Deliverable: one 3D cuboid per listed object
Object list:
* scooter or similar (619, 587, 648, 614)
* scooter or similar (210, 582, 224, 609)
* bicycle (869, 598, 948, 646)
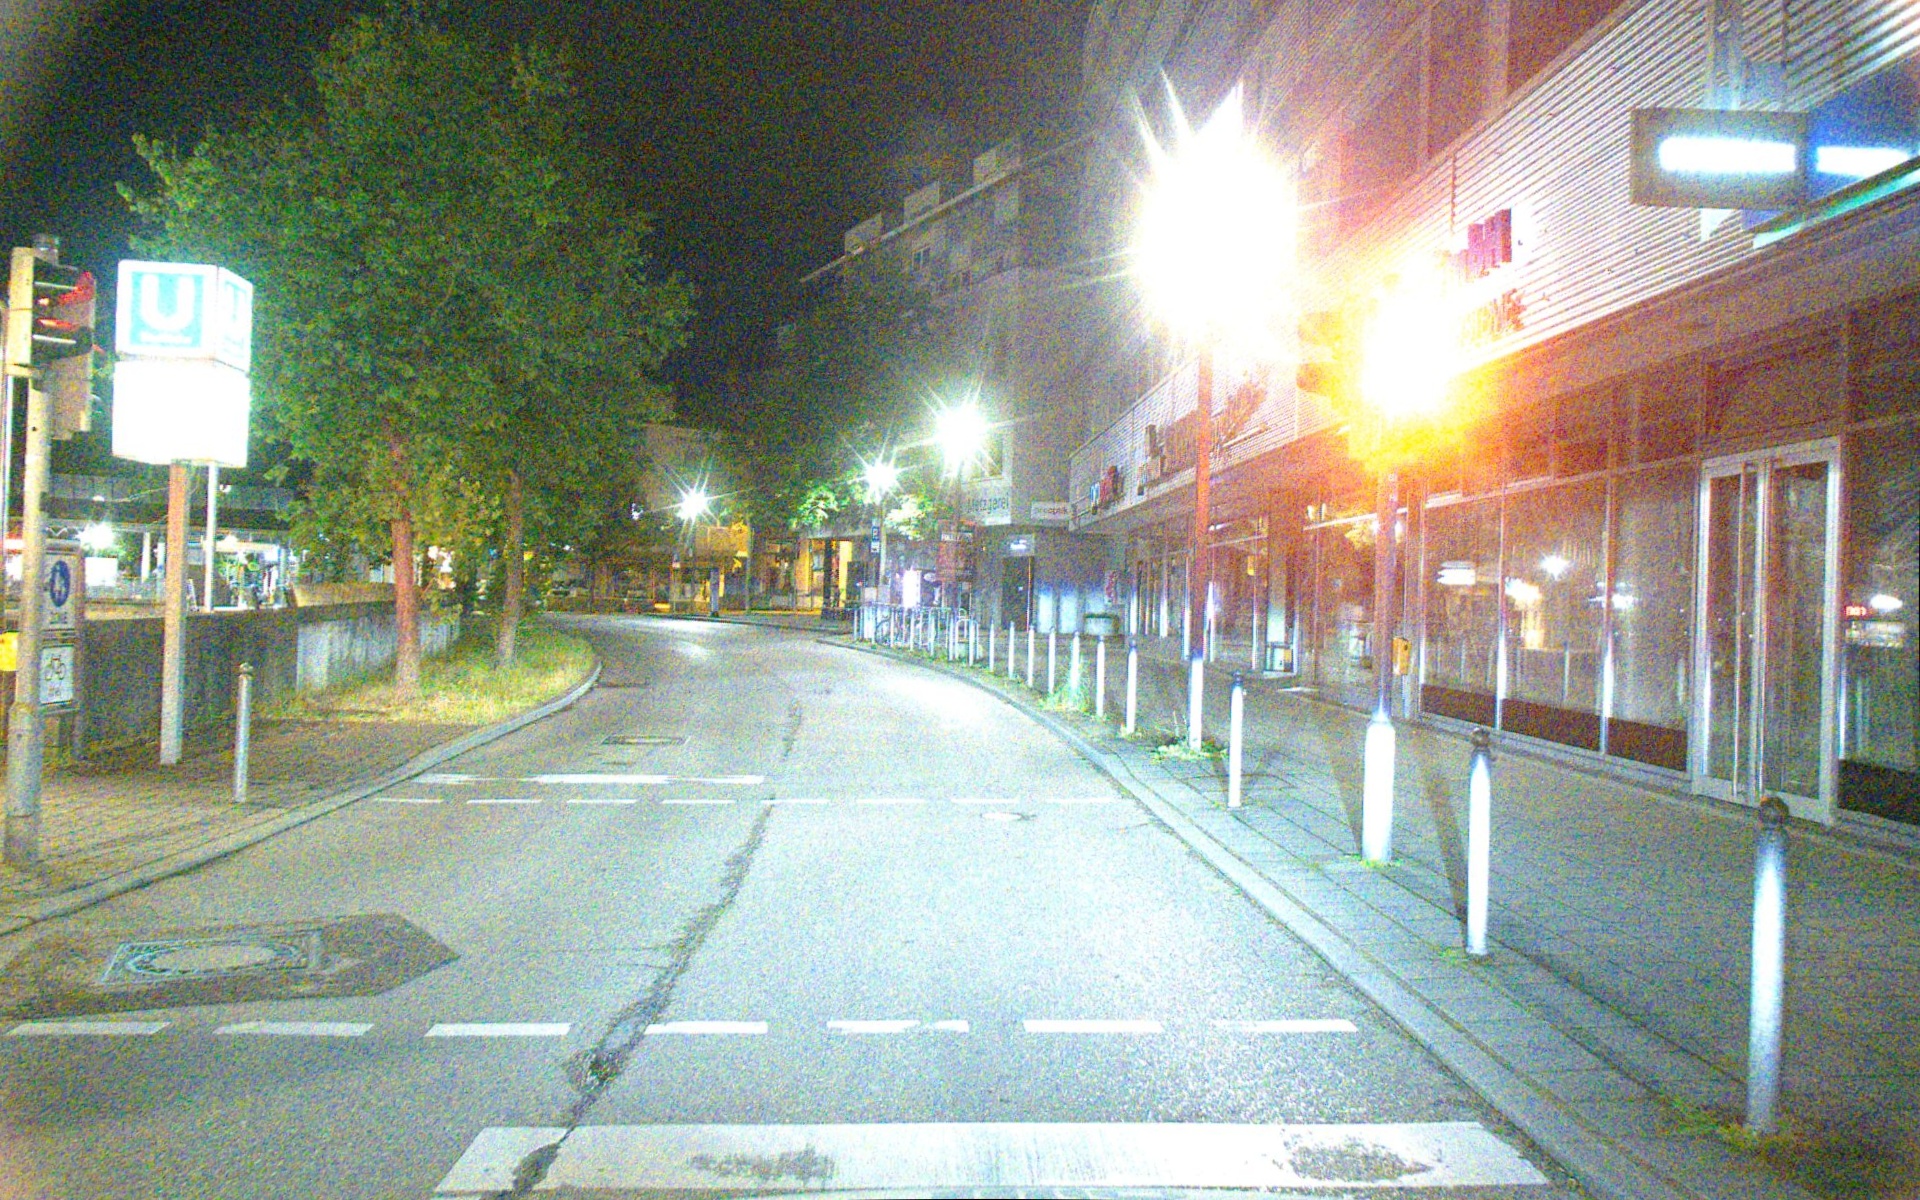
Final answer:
[{"bbox_3d":[-15.959,0.046,80.857,1.233,1.248,0.593,3,0,-30],"label":"scooter or similar"},{"bbox_3d":[-36.283,-0.213,80.736,0.426,1.307,1.132,0,1,-36],"label":"scooter or similar"},{"bbox_3d":[-1.199,0.513,38.837,1.728,1.081,0.650,1,1,-27],"label":"bicycle"}]
